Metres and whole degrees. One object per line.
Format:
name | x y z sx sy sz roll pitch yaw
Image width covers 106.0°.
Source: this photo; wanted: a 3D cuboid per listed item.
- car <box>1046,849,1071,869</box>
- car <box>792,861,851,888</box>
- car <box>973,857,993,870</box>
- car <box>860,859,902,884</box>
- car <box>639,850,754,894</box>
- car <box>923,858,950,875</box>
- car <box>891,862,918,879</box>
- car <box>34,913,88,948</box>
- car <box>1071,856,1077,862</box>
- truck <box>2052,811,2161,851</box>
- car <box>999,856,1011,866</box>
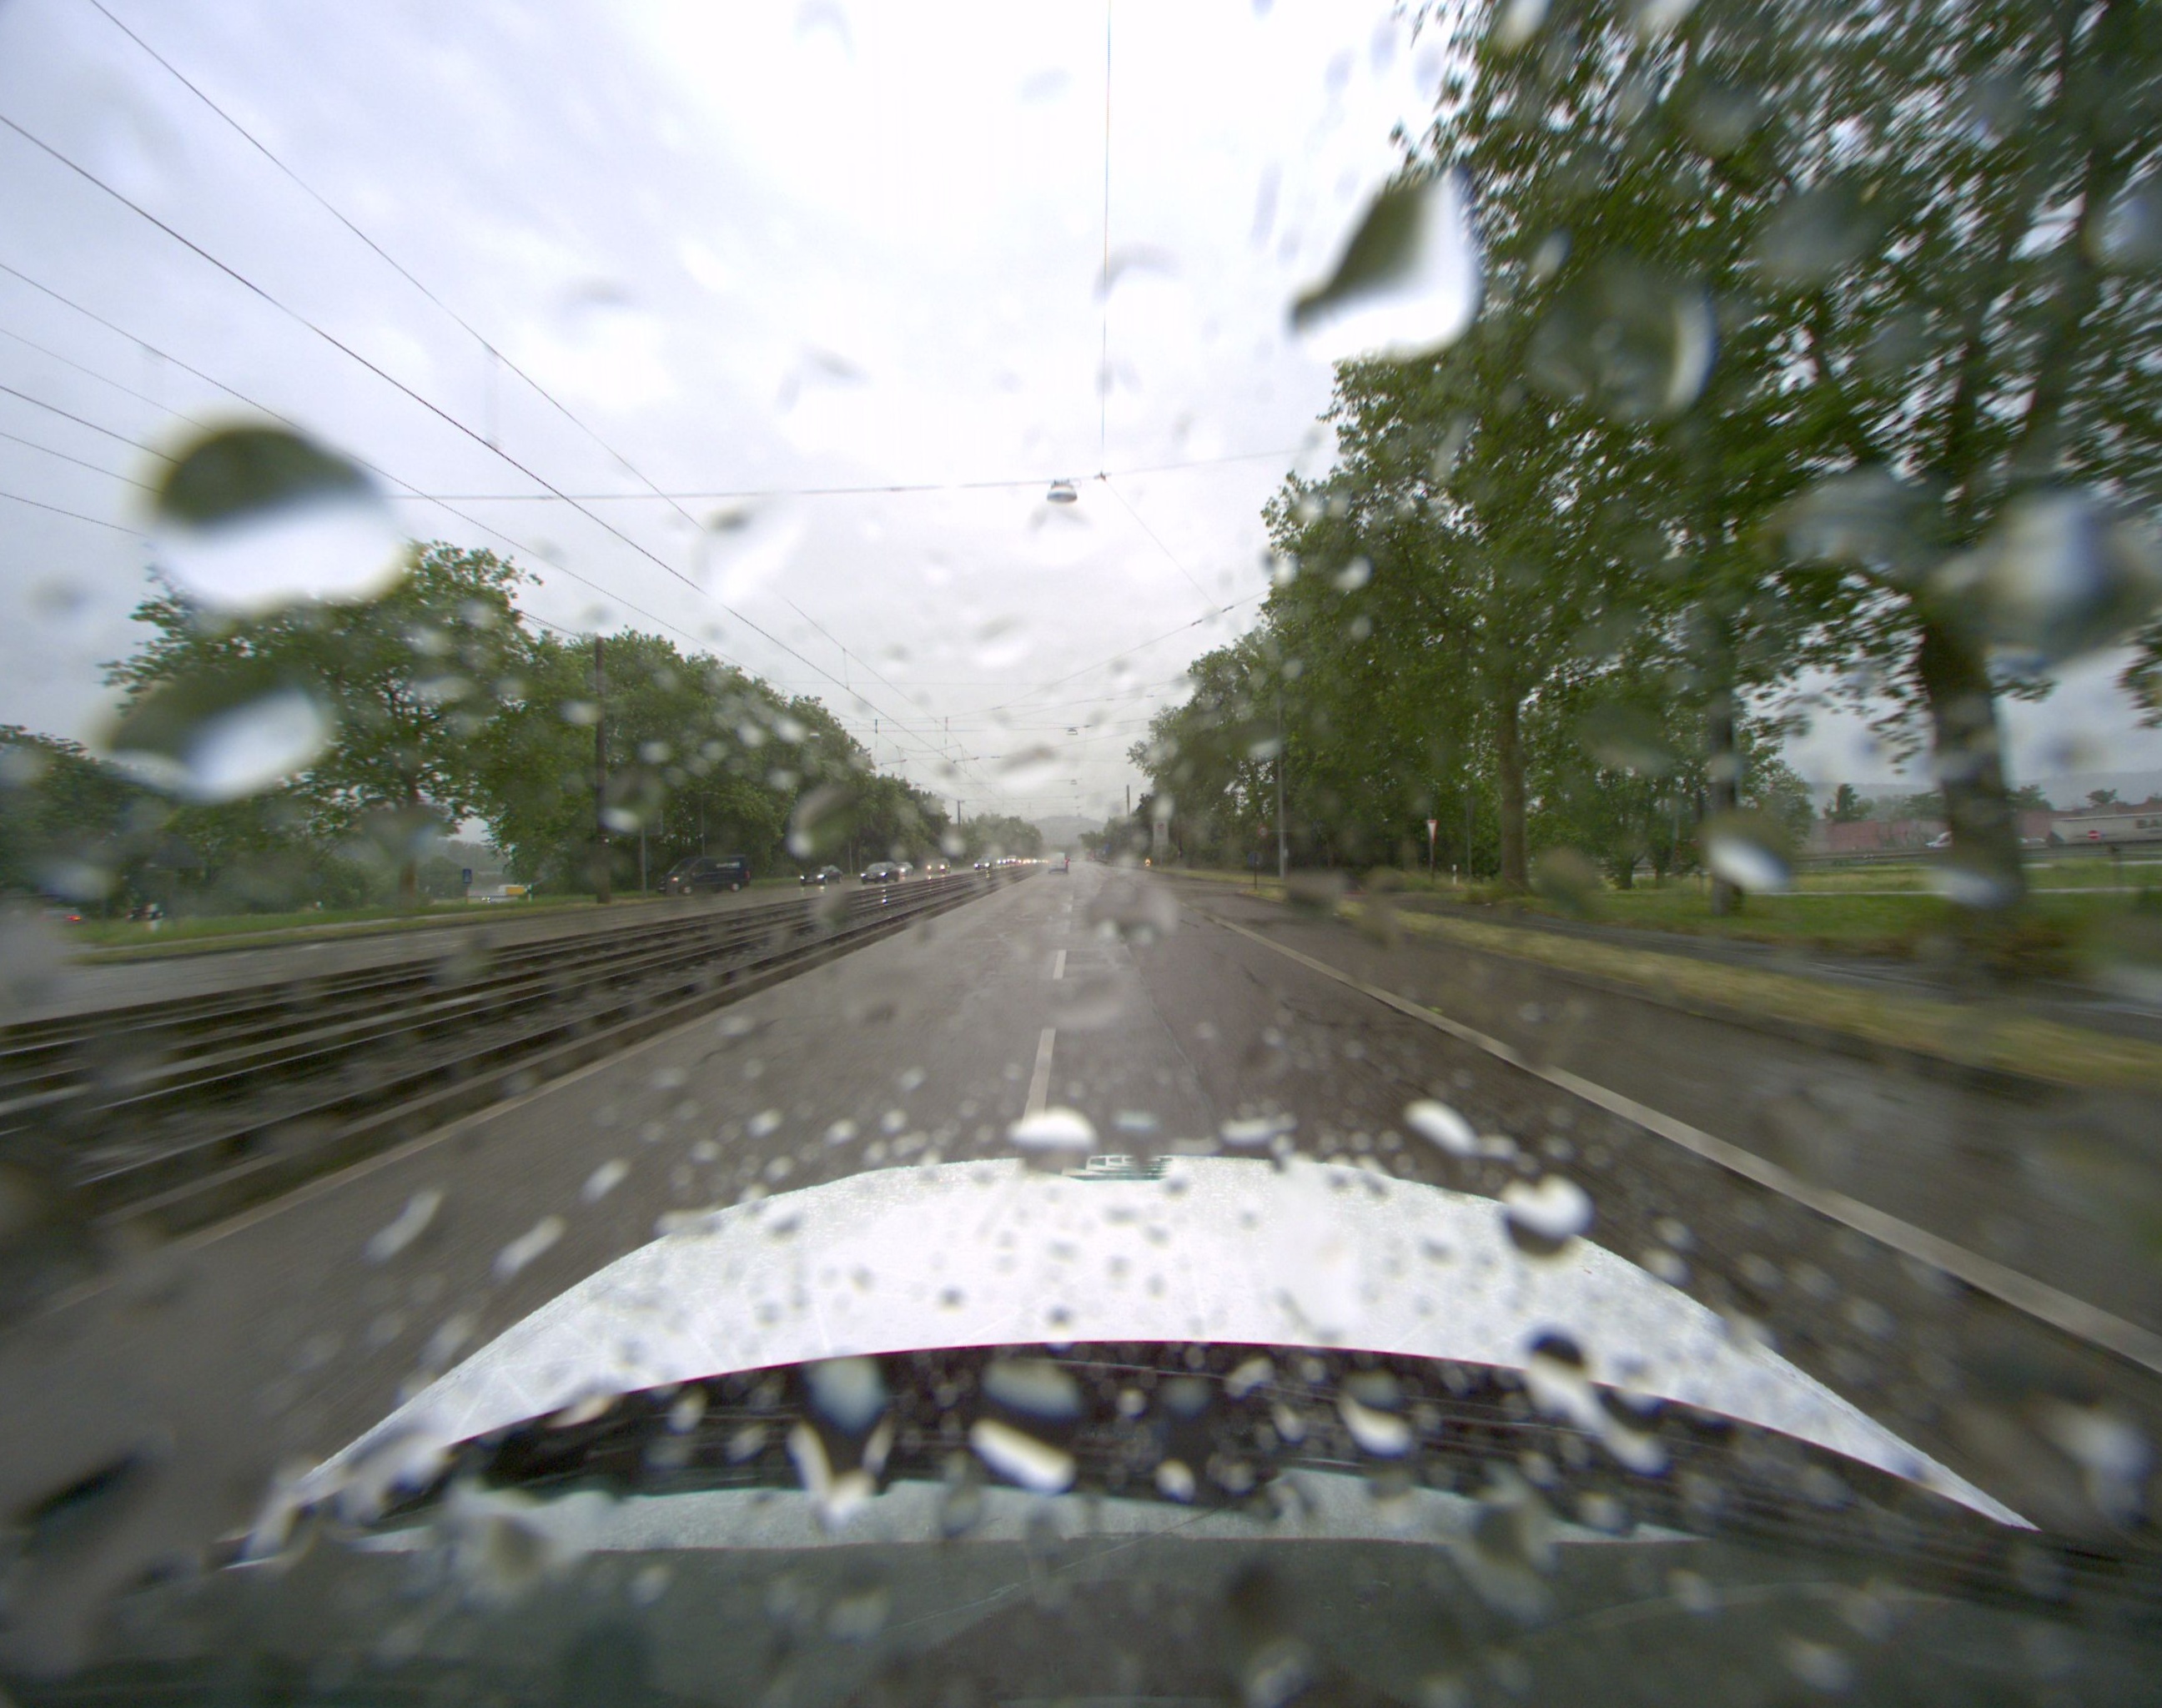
car | -1.958 0.445 71.662 1.982 1.684 3.741 0 1 1
car | -19.068 1.456 60.093 2.070 1.798 4.778 0 1 10
car | -12.423 1.168 103.549 1.770 1.585 5.680 0 1 0
car | -14.032 1.205 57.455 1.785 1.549 5.310 0 1 -1
car | -23.109 1.025 49.191 2.309 2.425 5.886 0 1 38
car | -15.596 1.320 88.252 1.814 1.706 6.104 0 1 0
car | -18.799 1.739 86.936 1.814 1.706 5.020 0 1 0
car | -58.844 4.374 47.043 3.572 1.662 1.672 1 1 43
car | -1.935 1.308 226.102 1.738 1.508 3.699 0 1 -1
truck | 124.746 -2.923 93.587 16.560 4.159 3.312 -4 -2 30
car | -14.991 1.370 160.272 1.834 1.717 4.166 0 1 3
